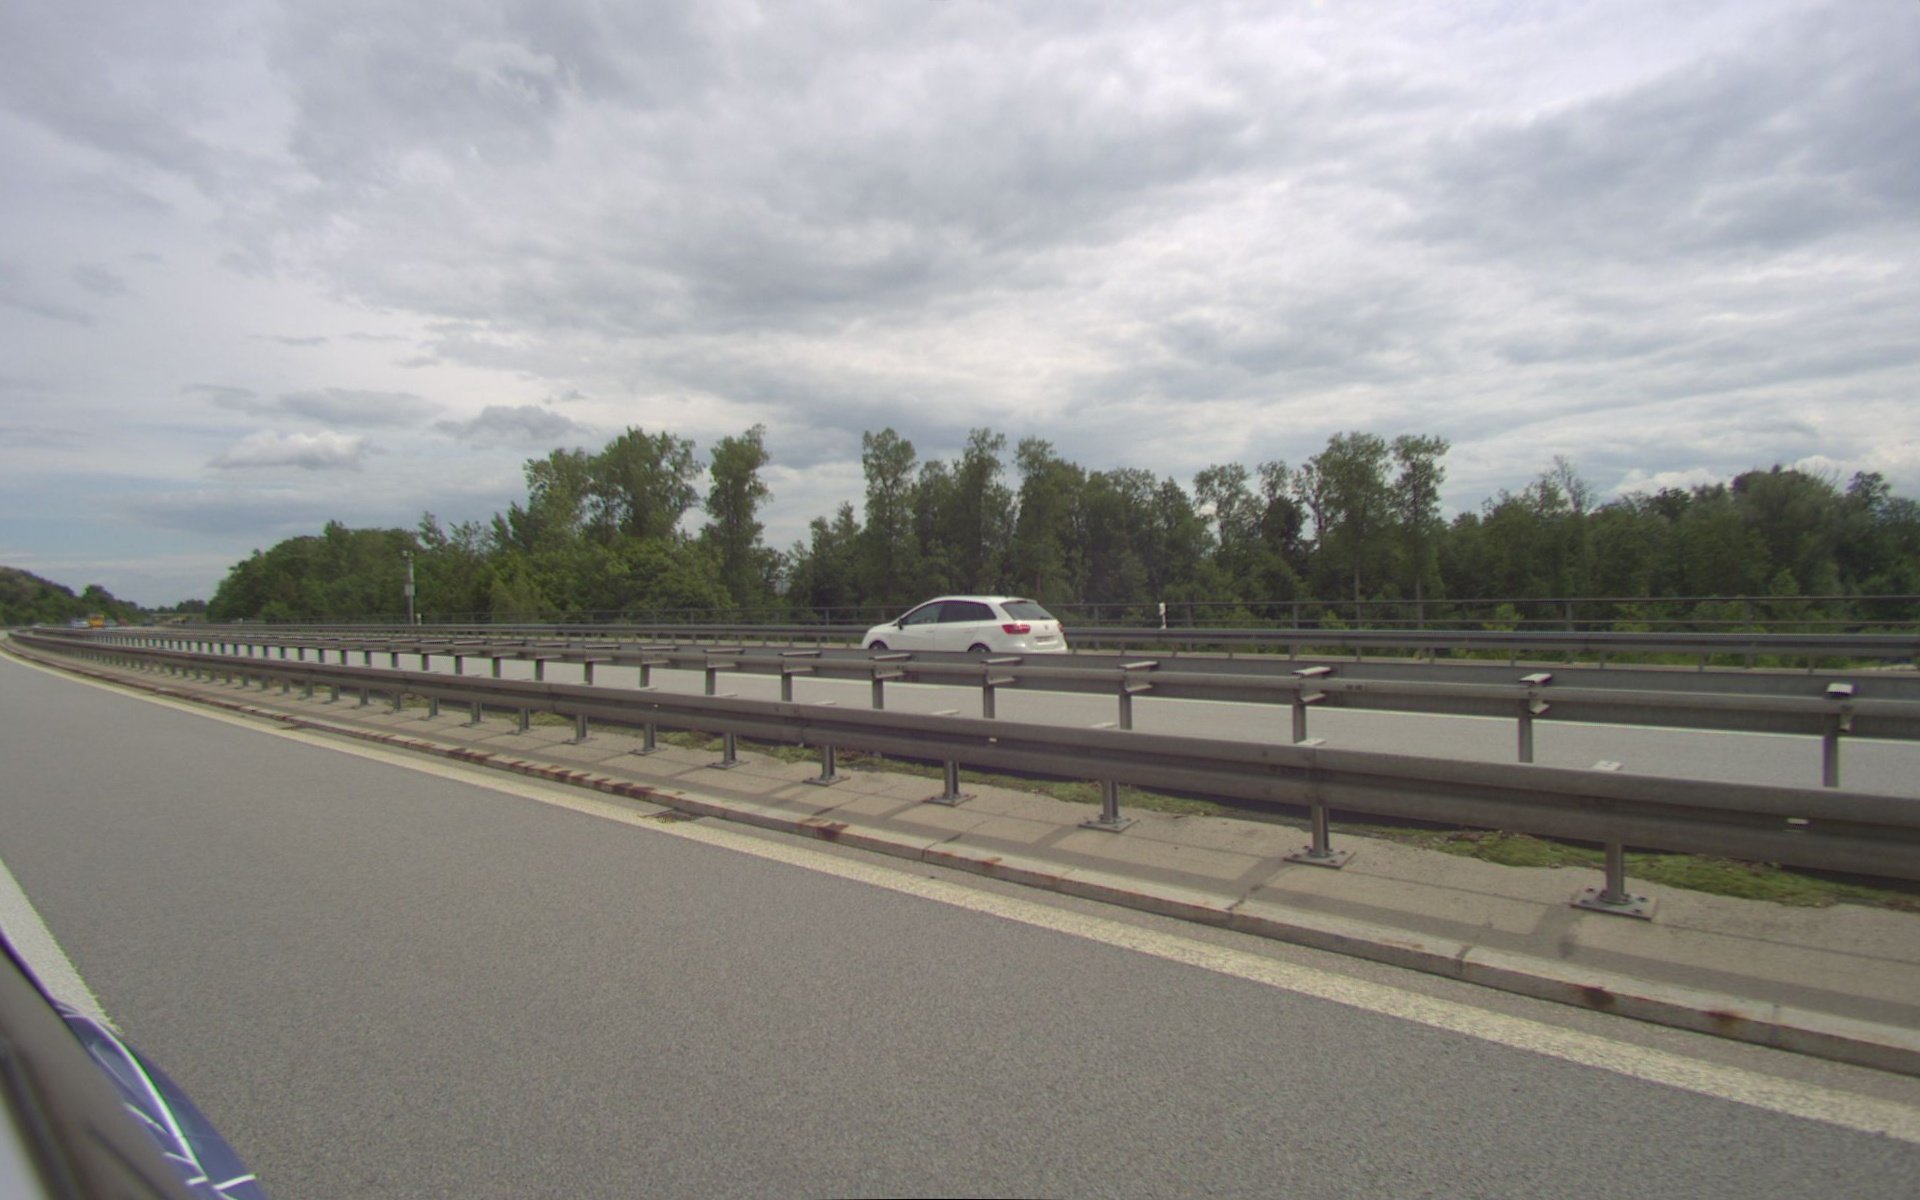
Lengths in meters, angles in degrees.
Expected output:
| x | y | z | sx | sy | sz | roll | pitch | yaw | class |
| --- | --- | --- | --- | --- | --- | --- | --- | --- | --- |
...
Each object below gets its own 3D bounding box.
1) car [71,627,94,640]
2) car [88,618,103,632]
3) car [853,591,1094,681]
| x | y | z | sx | sy | sz | roll | pitch | yaw | class |
| --- | --- | --- | --- | --- | --- | --- | --- | --- | --- |
| -105.697 | 4.030 | 121.917 | 4.390 | 1.397 | 1.752 | -2 | 0 | 45 | car |
| -150.159 | 4.329 | 175.768 | 1.969 | 2.310 | 6.406 | -1 | 0 | -41 | car |
| 0.141 | 0.611 | 17.989 | 4.326 | 1.417 | 1.515 | -1 | 0 | 41 | car |
